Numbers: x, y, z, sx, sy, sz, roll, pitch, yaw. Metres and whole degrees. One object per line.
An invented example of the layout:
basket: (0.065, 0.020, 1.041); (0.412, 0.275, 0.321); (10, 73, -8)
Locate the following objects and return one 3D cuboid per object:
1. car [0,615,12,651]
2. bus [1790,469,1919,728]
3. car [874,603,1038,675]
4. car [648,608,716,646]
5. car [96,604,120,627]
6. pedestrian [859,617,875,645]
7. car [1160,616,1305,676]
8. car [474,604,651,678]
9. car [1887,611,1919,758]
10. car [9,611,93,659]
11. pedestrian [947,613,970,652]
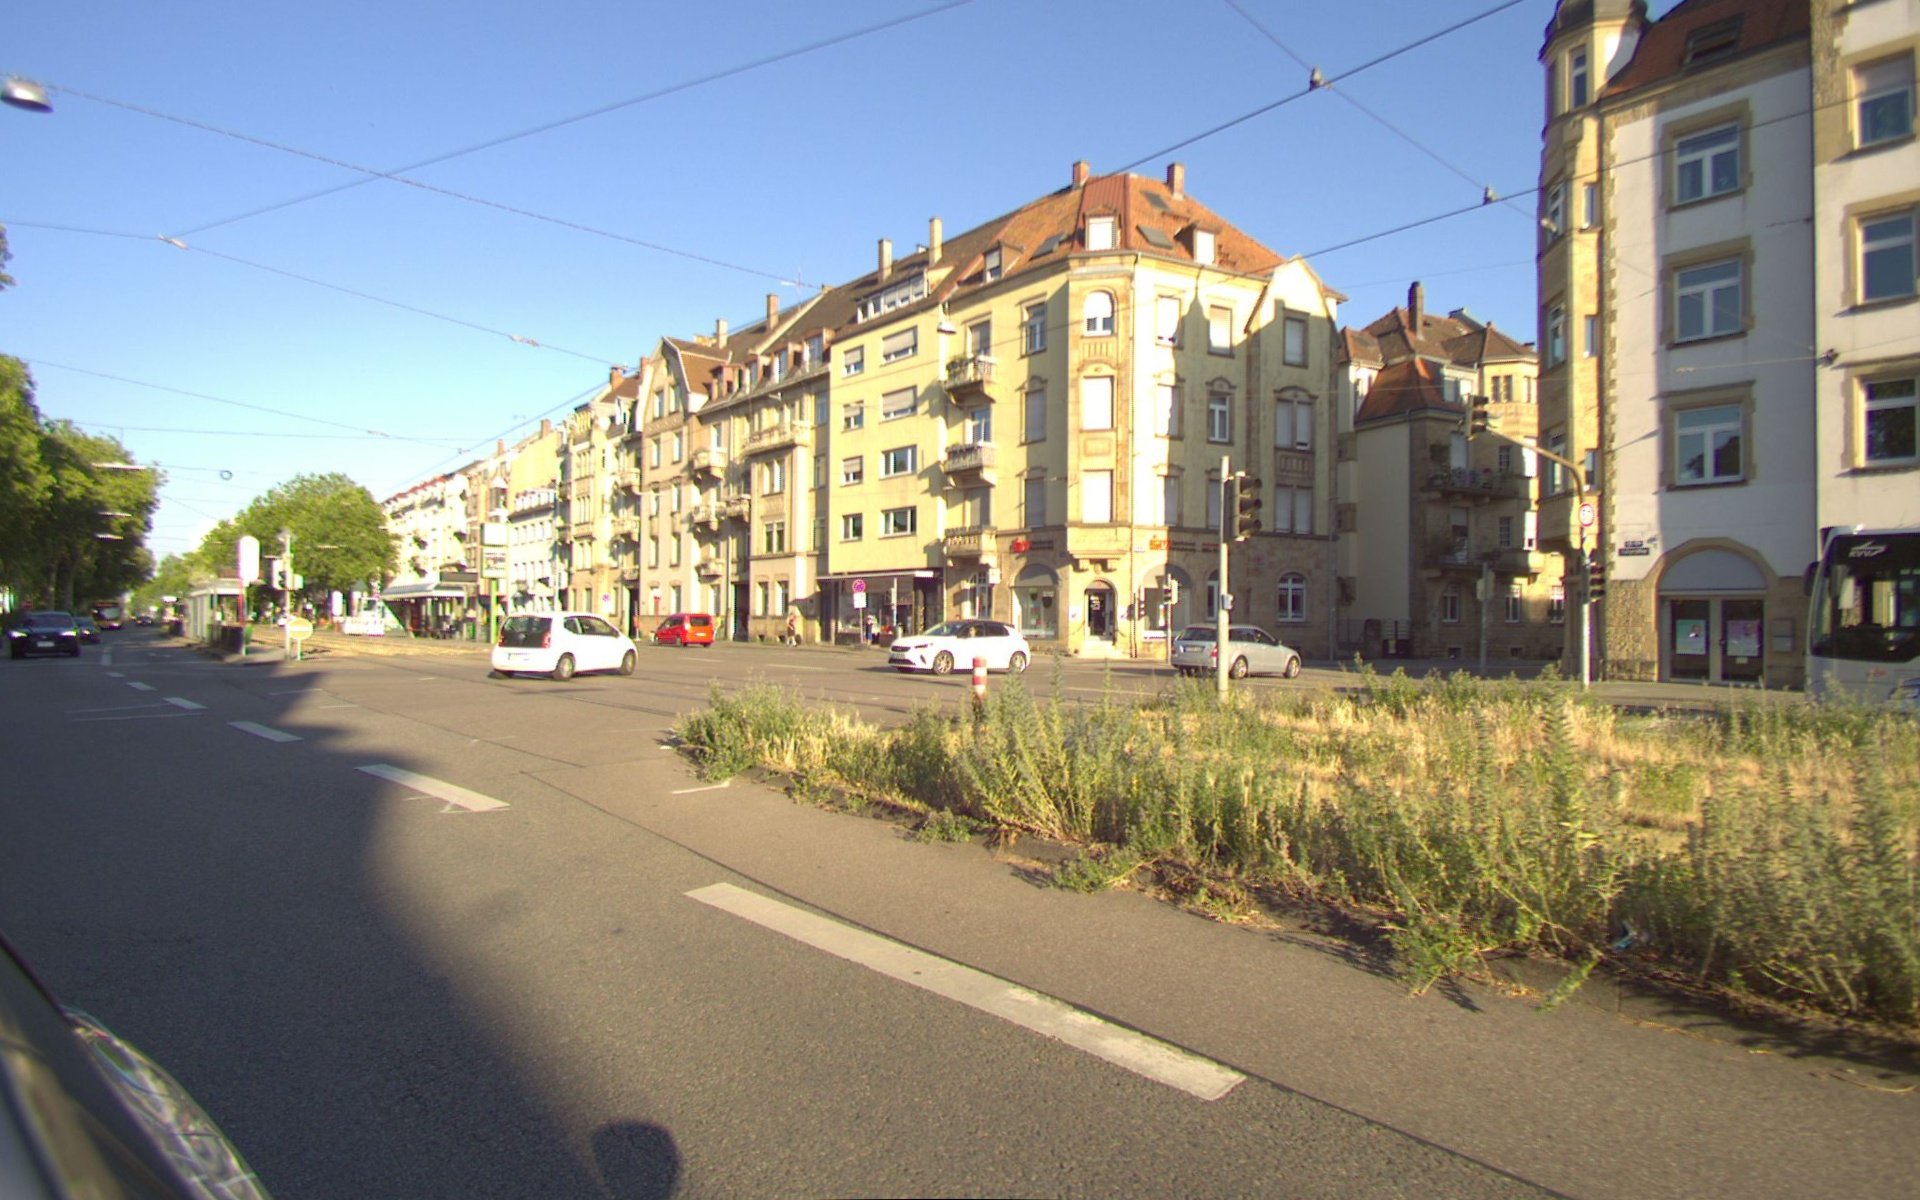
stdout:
car: (-44.592, 1.473, 45.887); (1.849, 1.608, 4.009); (1, -1, -37)
bus: (16.179, 0.027, 11.590); (3.224, 3.399, 9.915); (1, 0, -40)
car: (-0.067, 0.971, 26.248); (3.935, 1.719, 1.840); (1, -1, -38)
car: (-14.958, 1.403, 54.339); (1.890, 1.914, 4.317); (1, 0, -39)
car: (-88.130, 1.569, 104.644); (1.850, 2.310, 4.006); (1, -1, -40)
pedestrian: (-4.482, 1.483, 48.720); (0.545, 1.373, 0.556); (1, -1, -41)
car: (7.429, 1.227, 27.410); (4.106, 1.488, 1.741); (2, -1, -40)
car: (-8.675, 0.868, 22.425); (1.722, 1.491, 3.795); (0, -1, 15)
car: (12.907, 1.004, 10.925); (1.905, 1.696, 4.009); (1, 0, -38)
car: (-32.799, 1.220, 36.615); (1.849, 1.608, 4.009); (1, -1, -37)
pedestrian: (-0.065, 1.407, 43.511); (0.621, 1.653, 0.771); (1, -1, -42)
